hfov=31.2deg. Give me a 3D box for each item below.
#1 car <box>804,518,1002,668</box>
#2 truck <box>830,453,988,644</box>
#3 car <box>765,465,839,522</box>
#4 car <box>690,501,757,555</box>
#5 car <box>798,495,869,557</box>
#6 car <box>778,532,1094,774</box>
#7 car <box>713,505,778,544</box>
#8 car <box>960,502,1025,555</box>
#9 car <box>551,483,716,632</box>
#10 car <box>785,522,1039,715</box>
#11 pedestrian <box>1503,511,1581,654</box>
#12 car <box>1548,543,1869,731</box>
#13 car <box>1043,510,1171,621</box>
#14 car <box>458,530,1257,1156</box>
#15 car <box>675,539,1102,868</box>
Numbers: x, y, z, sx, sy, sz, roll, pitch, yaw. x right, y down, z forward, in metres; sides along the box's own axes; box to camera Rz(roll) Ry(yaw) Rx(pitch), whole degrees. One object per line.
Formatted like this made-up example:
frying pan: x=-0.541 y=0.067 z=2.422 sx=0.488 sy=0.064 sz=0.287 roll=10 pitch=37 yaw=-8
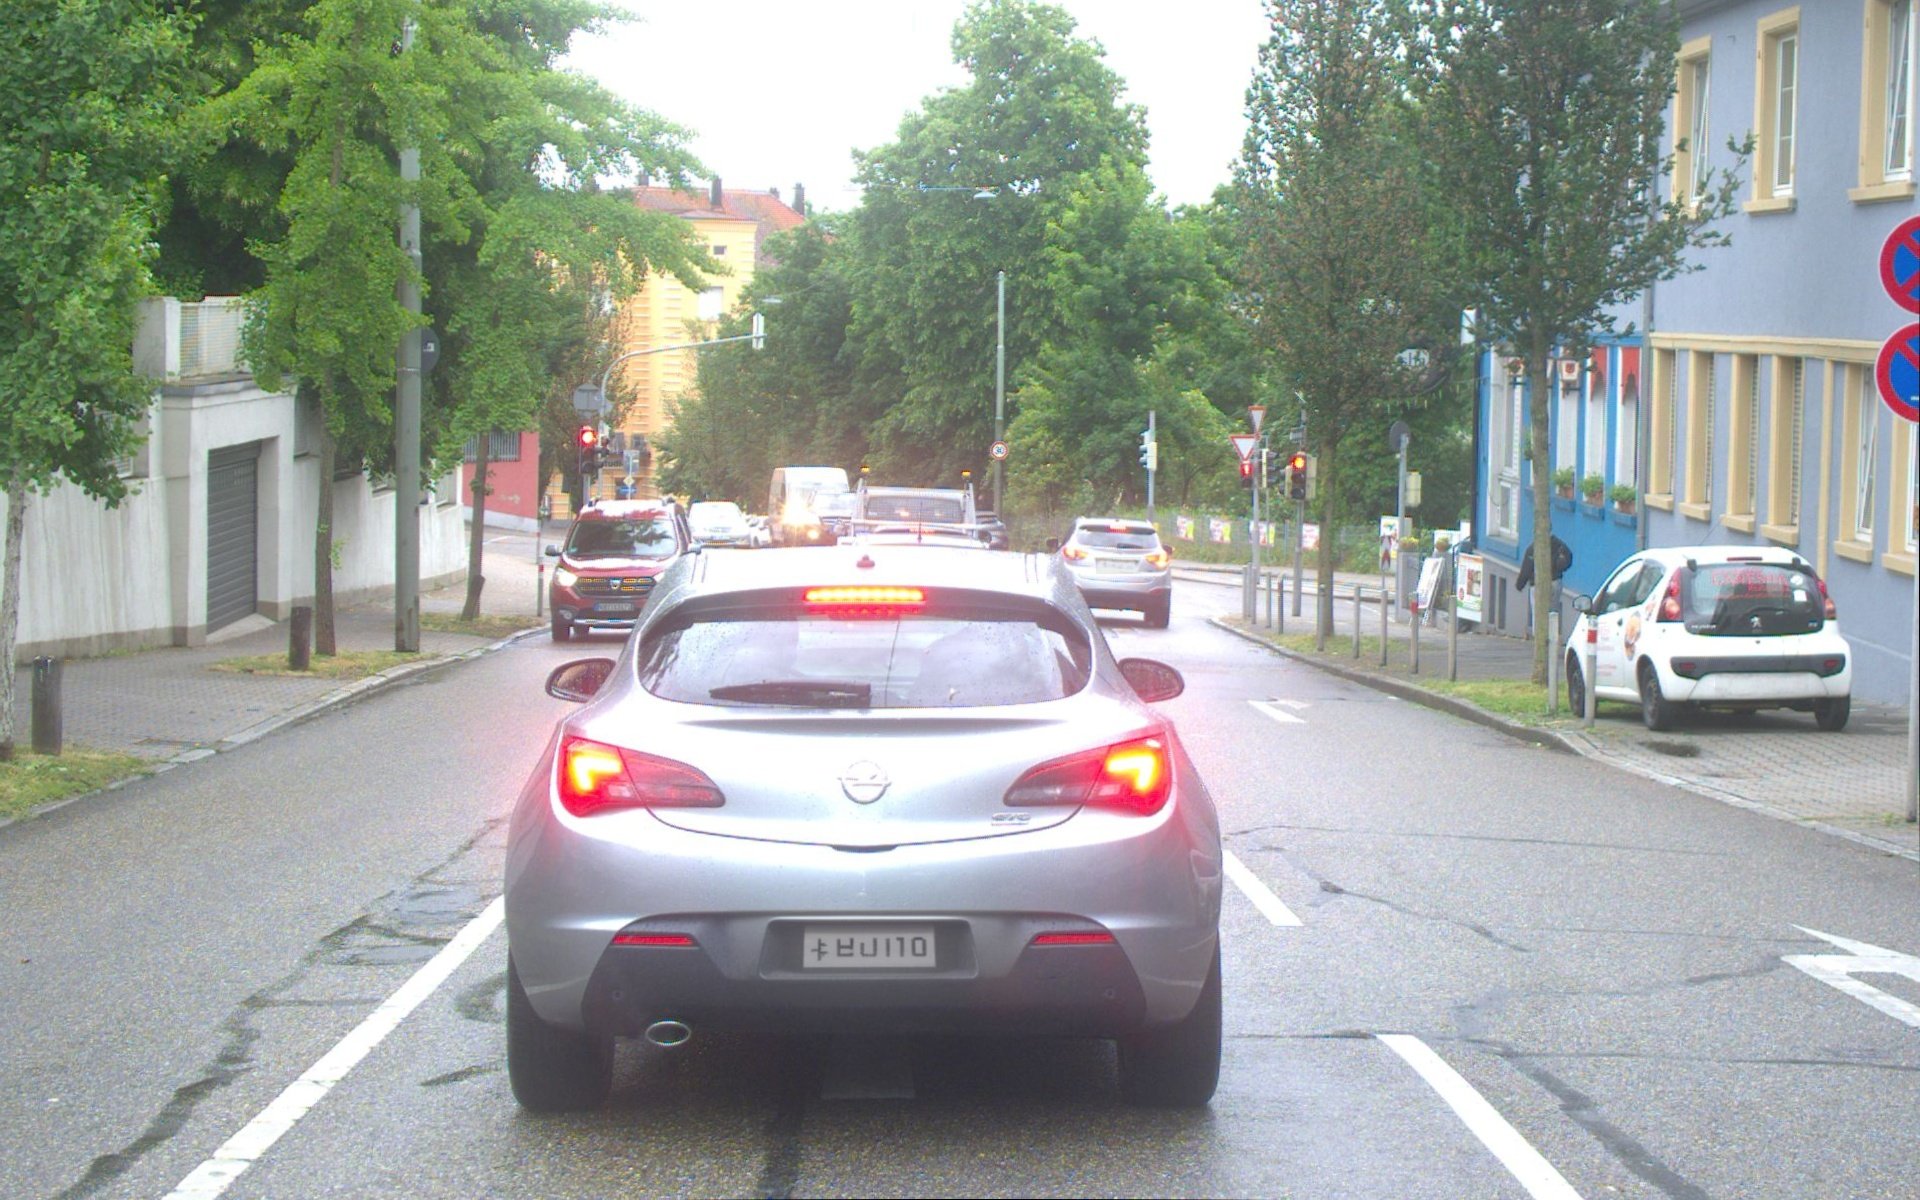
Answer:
car: x=-0.643 y=-0.120 z=37.097 sx=1.962 sy=1.443 sz=4.306 roll=2 pitch=1 yaw=-2
truck: x=-0.733 y=-0.735 z=47.089 sx=1.962 sy=2.420 sz=4.936 roll=2 pitch=1 yaw=-2
car: x=-4.621 y=-3.079 z=100.218 sx=1.722 sy=1.632 sz=3.881 roll=0 pitch=1 yaw=-9
car: x=-6.576 y=-2.003 z=95.782 sx=1.722 sy=1.455 sz=3.880 roll=0 pitch=1 yaw=-2
car: x=-3.385 y=-1.991 z=92.598 sx=1.870 sy=1.632 sz=3.880 roll=0 pitch=1 yaw=-2
car: x=-0.215 y=0.297 z=24.060 sx=1.962 sy=1.443 sz=4.306 roll=2 pitch=1 yaw=-2
car: x=-8.708 y=-3.057 z=139.326 sx=1.722 sy=1.538 sz=3.881 roll=0 pitch=1 yaw=-18
car: x=1.011 y=-2.269 z=108.890 sx=1.722 sy=1.632 sz=3.880 roll=0 pitch=1 yaw=-4
car: x=-4.207 y=-0.563 z=44.846 sx=1.746 sy=1.822 sz=4.459 roll=-1 pitch=1 yaw=-1
car: x=-0.446 y=0.097 z=29.438 sx=1.962 sy=1.443 sz=4.306 roll=2 pitch=1 yaw=-2
pedestrian: x=7.181 y=-0.220 z=42.442 sx=0.783 sy=1.723 sz=0.651 roll=2 pitch=1 yaw=0
car: x=6.155 y=0.260 z=28.700 sx=1.722 sy=1.443 sz=3.880 roll=0 pitch=1 yaw=-2
car: x=2.322 y=-0.580 z=55.125 sx=1.722 sy=1.708 sz=3.880 roll=0 pitch=1 yaw=-2
car: x=-0.317 y=0.531 z=9.949 sx=1.837 sy=1.429 sz=3.880 roll=1 pitch=1 yaw=-2
car: x=-0.401 y=0.450 z=18.340 sx=1.962 sy=1.443 sz=4.306 roll=2 pitch=1 yaw=-2
